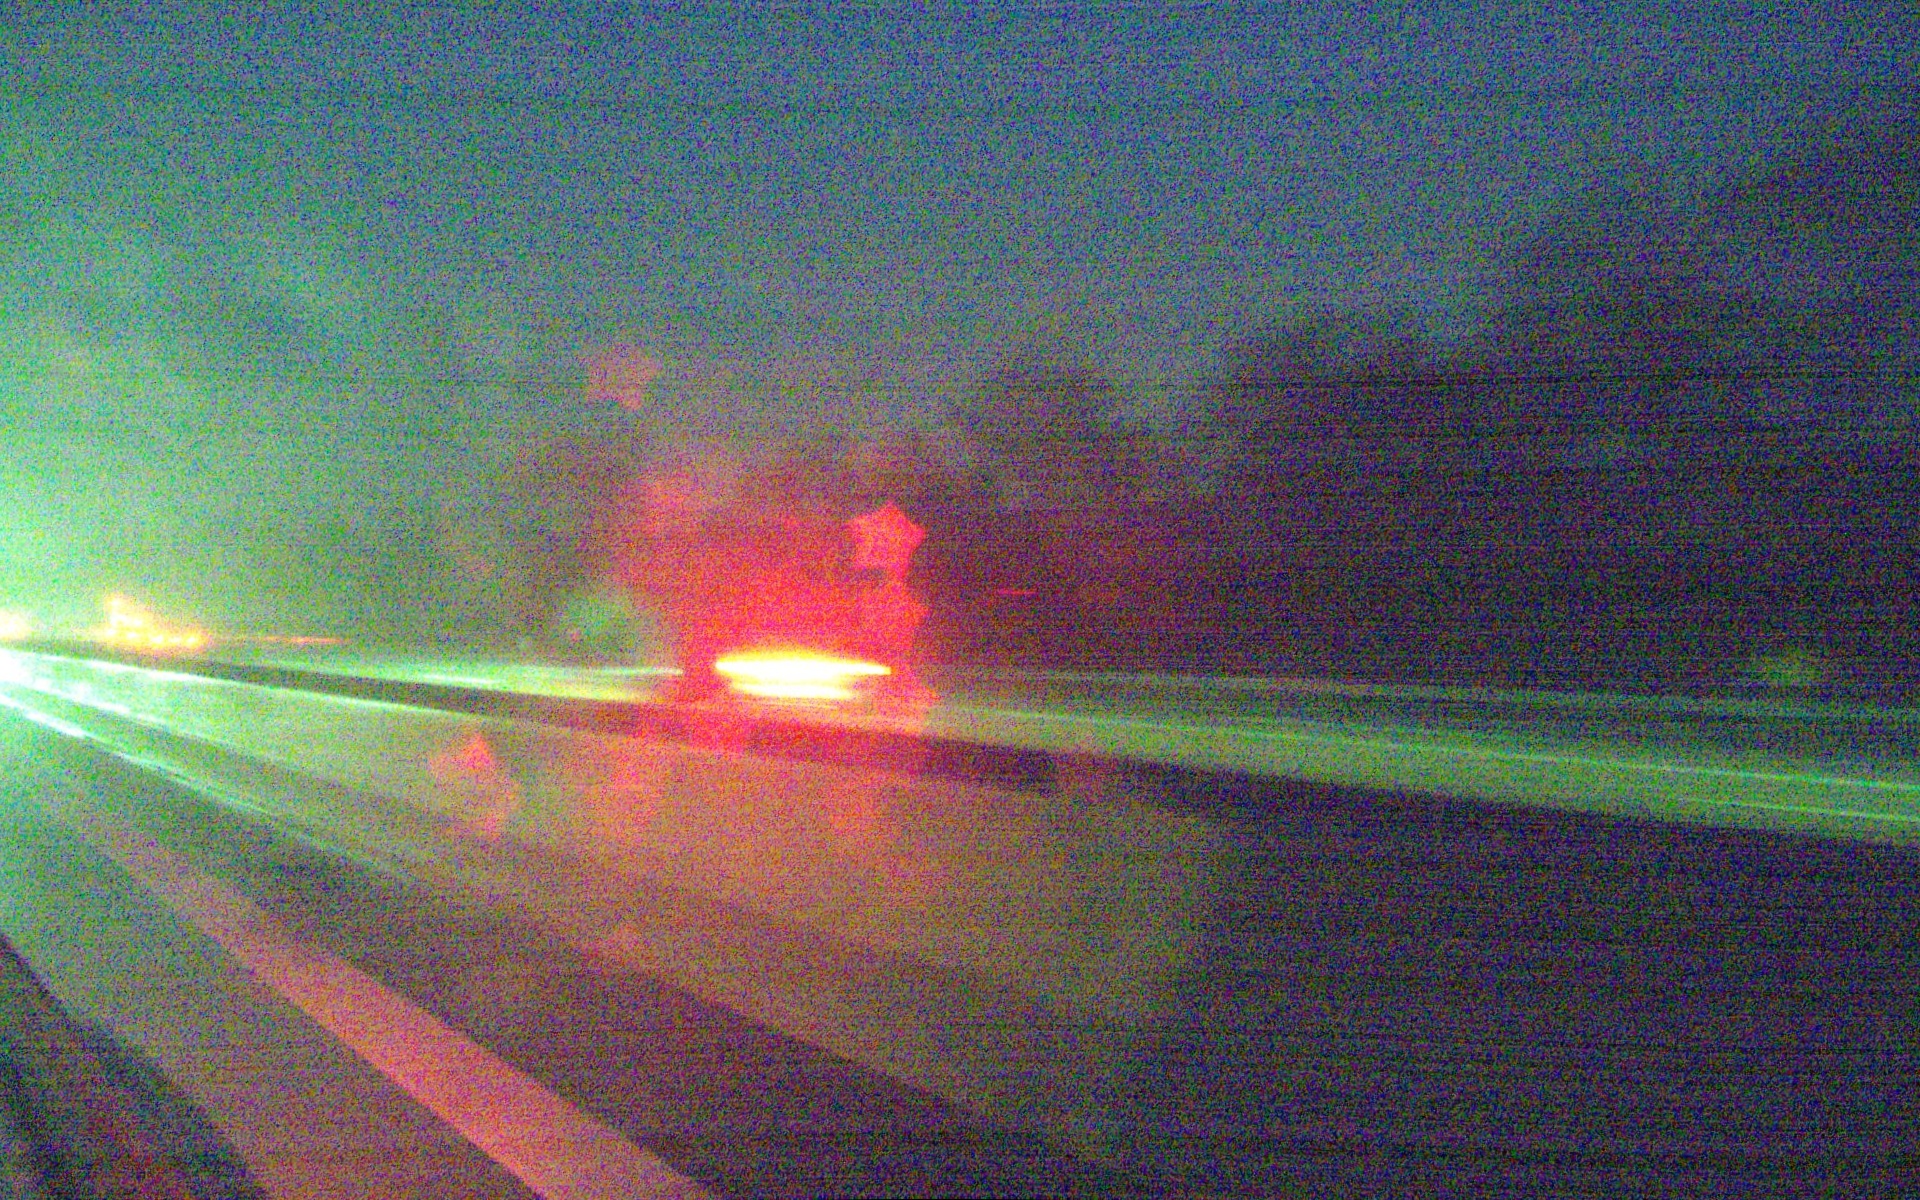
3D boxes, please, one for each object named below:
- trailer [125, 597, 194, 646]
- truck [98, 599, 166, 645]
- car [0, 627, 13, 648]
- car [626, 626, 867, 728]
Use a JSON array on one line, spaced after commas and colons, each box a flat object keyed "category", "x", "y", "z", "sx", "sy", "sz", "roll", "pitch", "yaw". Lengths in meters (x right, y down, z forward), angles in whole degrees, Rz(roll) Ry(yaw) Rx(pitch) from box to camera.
[{"category": "trailer", "x": -67.842, "y": 1.853, "z": 85.684, "sx": 8.697, "sy": 3.930, "sz": 2.827, "roll": -2, "pitch": -2, "yaw": 40}, {"category": "truck", "x": -75.120, "y": 2.073, "z": 91.736, "sx": 10.203, "sy": 3.938, "sz": 2.839, "roll": -2, "pitch": -2, "yaw": 40}, {"category": "car", "x": -95.919, "y": 3.763, "z": 100.740, "sx": 3.998, "sy": 2.029, "sz": 1.973, "roll": -2, "pitch": -3, "yaw": 41}, {"category": "car", "x": -4.109, "y": 1.334, "z": 19.027, "sx": 4.807, "sy": 1.675, "sz": 1.972, "roll": -1, "pitch": -3, "yaw": 42}]
